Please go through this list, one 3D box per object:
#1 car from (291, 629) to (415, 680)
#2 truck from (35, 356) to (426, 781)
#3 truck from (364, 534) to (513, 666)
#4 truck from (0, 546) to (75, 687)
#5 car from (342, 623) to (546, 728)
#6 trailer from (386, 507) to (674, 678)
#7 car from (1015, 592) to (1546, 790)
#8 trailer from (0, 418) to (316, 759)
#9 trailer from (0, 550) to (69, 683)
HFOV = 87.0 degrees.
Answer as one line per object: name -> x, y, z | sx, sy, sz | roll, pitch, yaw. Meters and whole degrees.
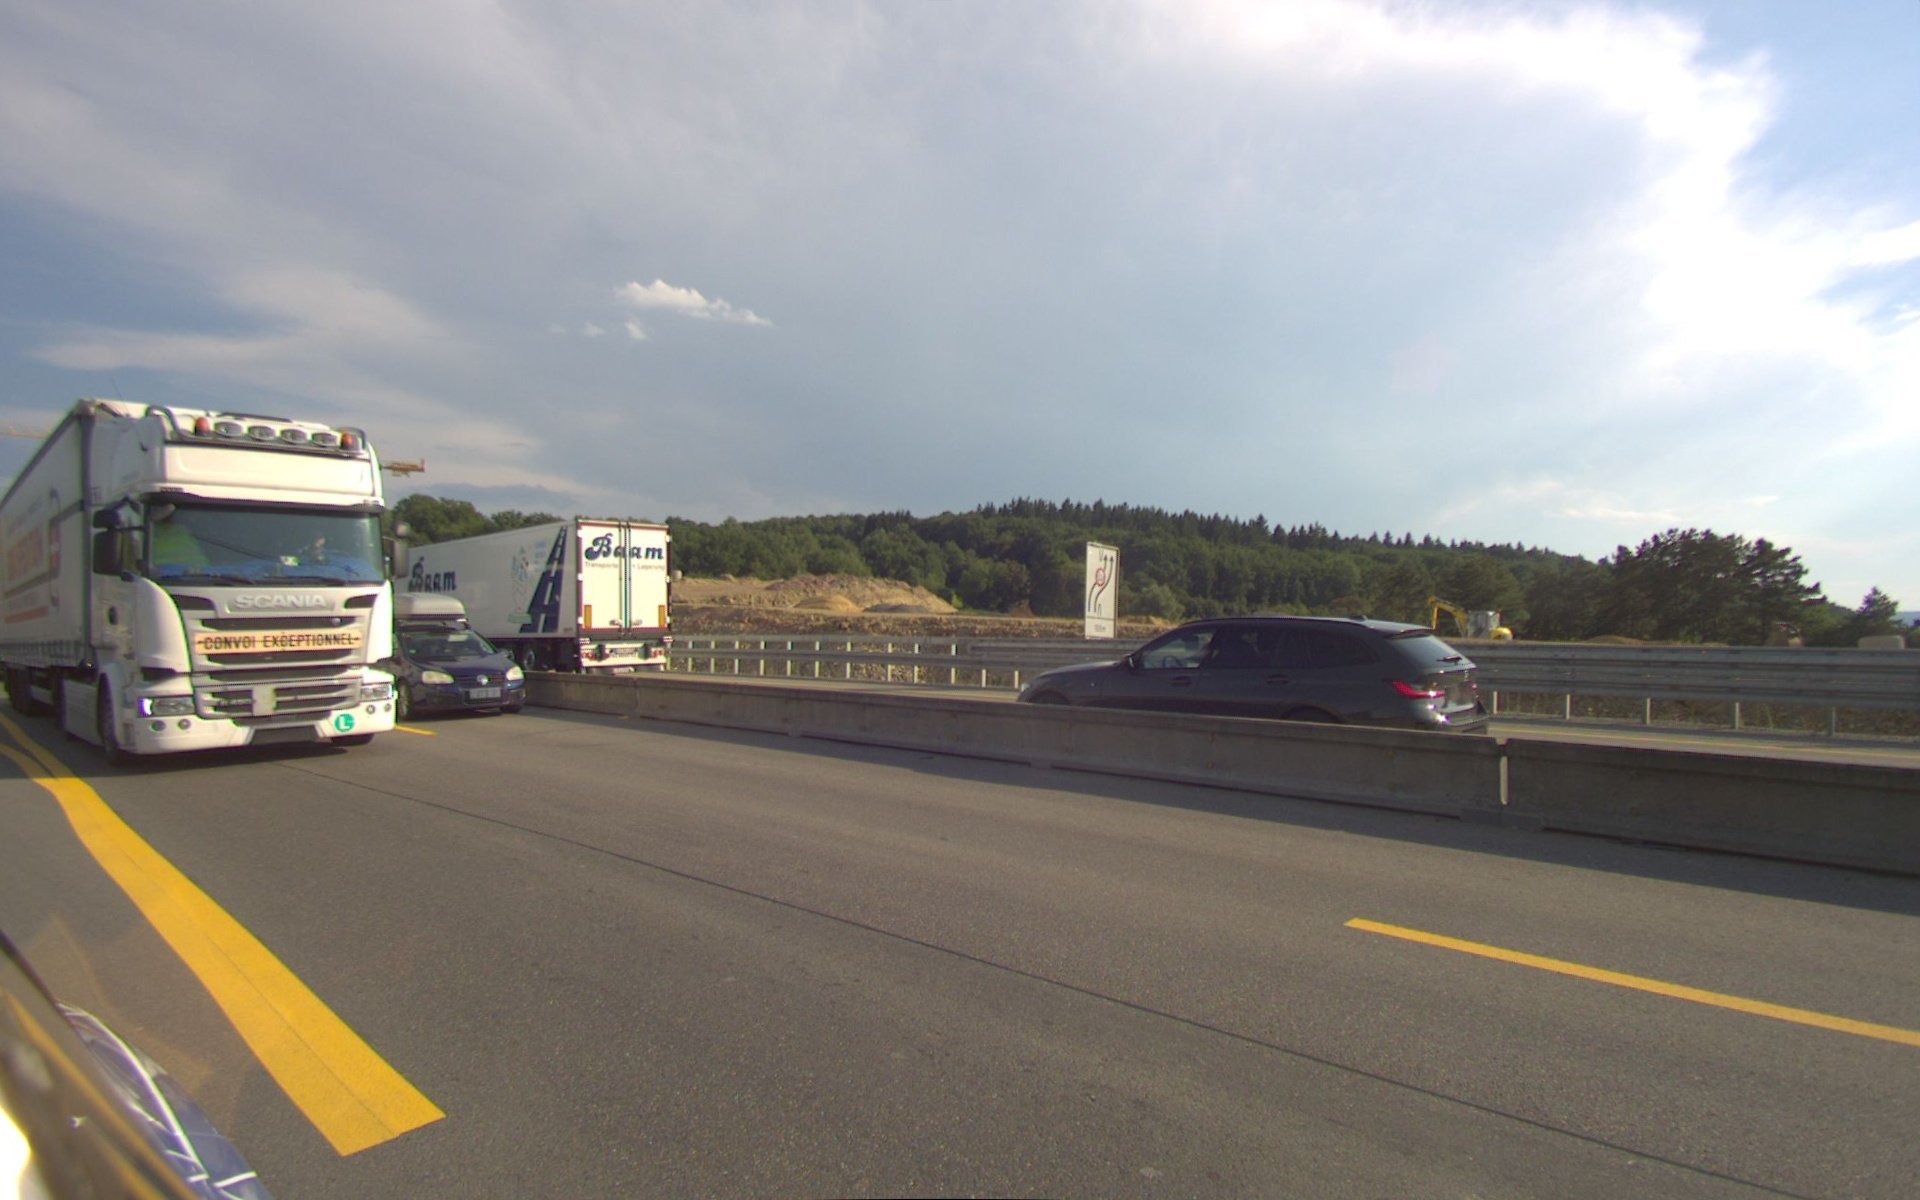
car -> -18.158, 1.603, 30.208 | 4.451, 1.376, 1.887 | -1, -3, 42
truck -> -8.978, -0.239, 12.190 | 6.008, 3.908, 2.454 | -1, -2, 41
truck -> -17.908, 0.102, 34.593 | 6.132, 4.097, 2.598 | -1, -4, 44
truck -> -29.637, 0.517, 31.617 | 6.013, 4.091, 2.452 | -1, -2, 44
car -> -8.465, 1.125, 16.468 | 3.921, 1.496, 1.800 | -1, -2, 44
trailer -> -13.387, -0.019, 30.182 | 14.085, 4.097, 2.597 | -1, -4, 45
car -> 2.901, 0.758, 9.853 | 4.536, 1.476, 1.971 | -1, -4, 43
trailer -> -14.420, -0.032, 17.093 | 13.629, 3.908, 2.453 | -1, -2, 42
trailer -> -34.390, 0.602, 36.053 | 13.629, 4.092, 2.453 | -1, -2, 42
